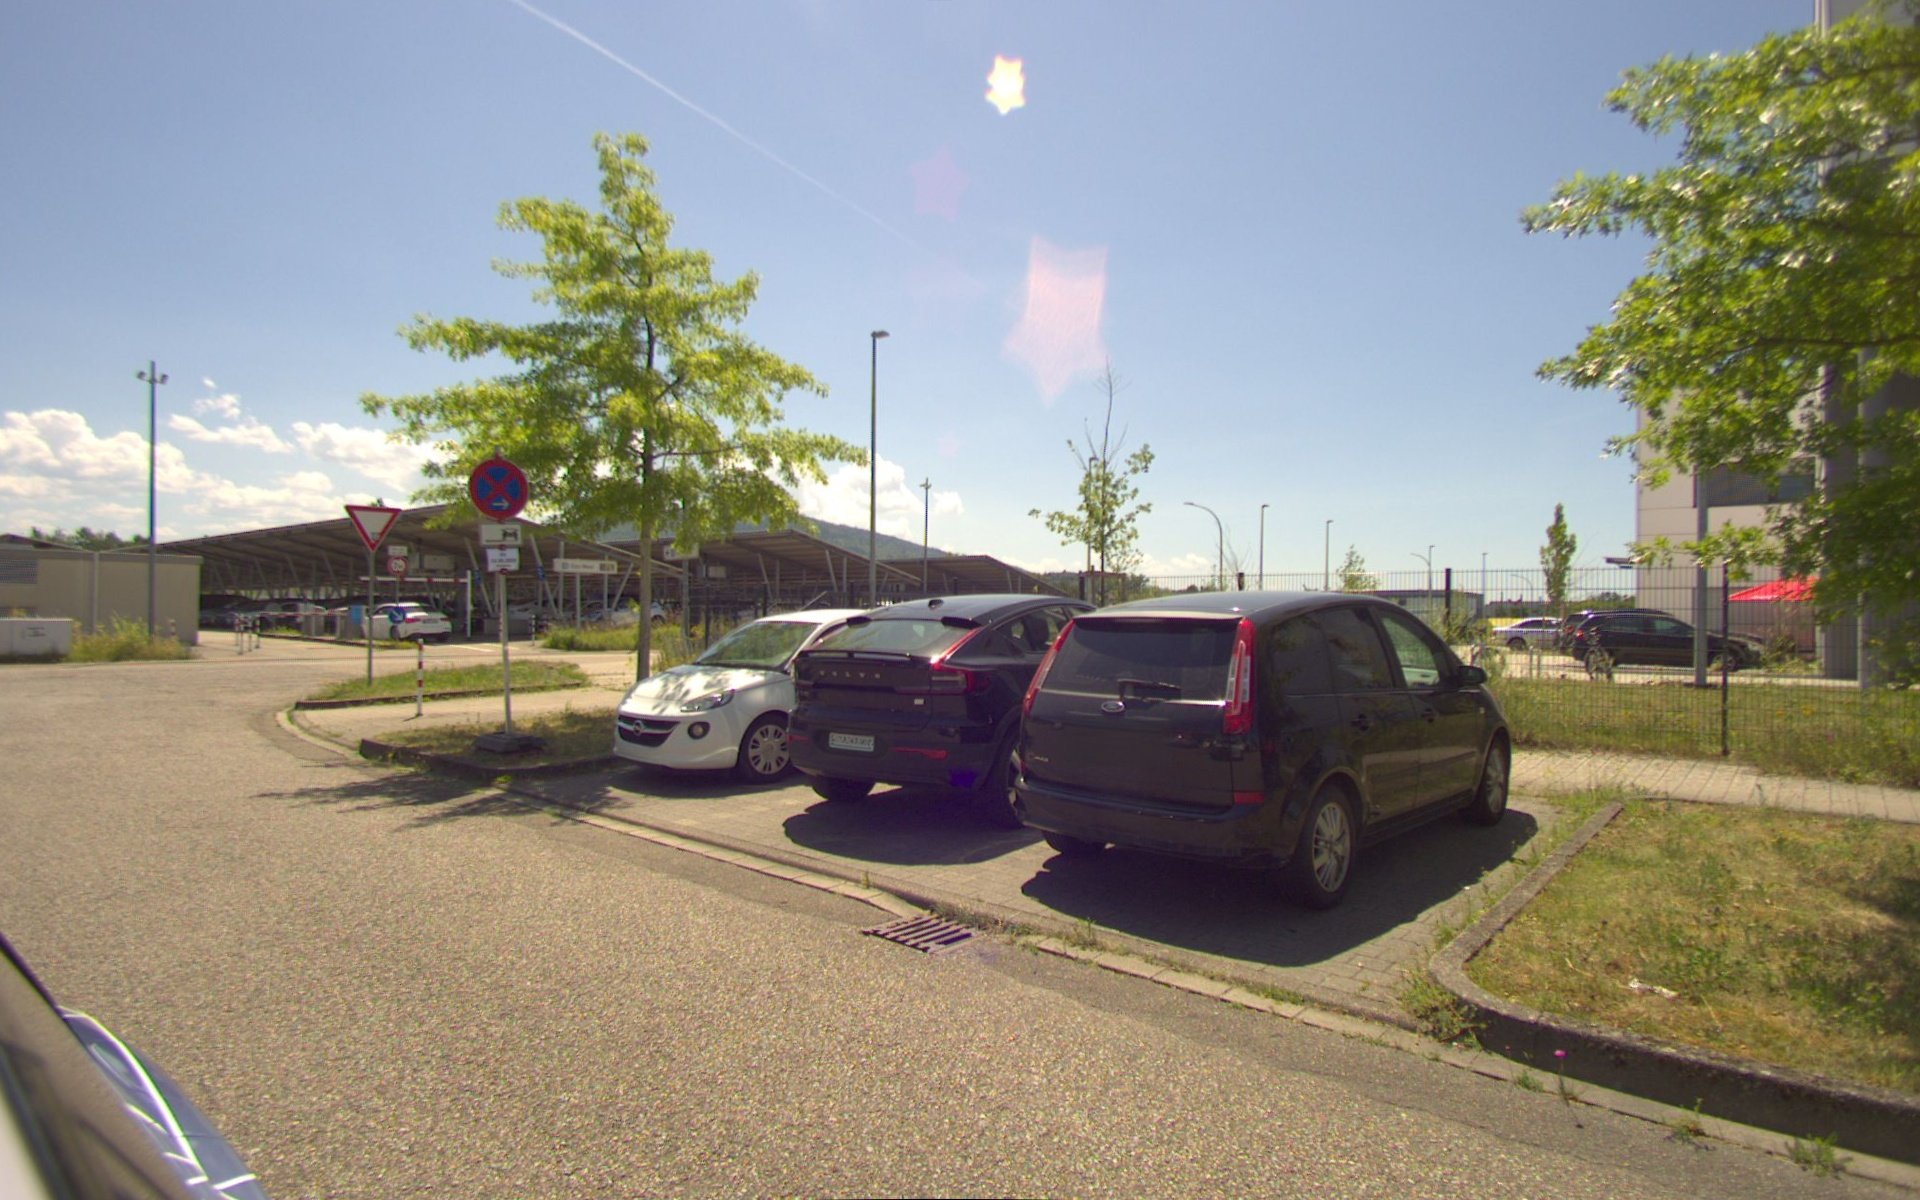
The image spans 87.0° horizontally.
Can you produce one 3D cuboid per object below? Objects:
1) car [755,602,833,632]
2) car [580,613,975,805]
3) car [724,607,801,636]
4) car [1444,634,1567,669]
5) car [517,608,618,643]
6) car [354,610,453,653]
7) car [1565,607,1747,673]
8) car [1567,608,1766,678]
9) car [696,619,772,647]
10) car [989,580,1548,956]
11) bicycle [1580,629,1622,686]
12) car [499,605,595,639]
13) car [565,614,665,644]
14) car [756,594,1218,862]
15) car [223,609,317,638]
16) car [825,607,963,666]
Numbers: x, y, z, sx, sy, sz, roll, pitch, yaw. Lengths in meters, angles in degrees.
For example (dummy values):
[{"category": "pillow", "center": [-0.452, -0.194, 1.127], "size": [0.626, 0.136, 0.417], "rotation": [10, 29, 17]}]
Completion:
[{"category": "car", "center": [-8.395, 0.887, 51.339], "size": [1.721, 1.447, 3.728], "rotation": [-1, -2, 37]}, {"category": "car", "center": [-1.620, 0.881, 9.805], "size": [1.726, 1.452, 3.468], "rotation": [-1, -1, 40]}, {"category": "car", "center": [-10.296, 1.130, 52.975], "size": [1.721, 1.447, 3.728], "rotation": [-1, -2, 37]}, {"category": "car", "center": [22.931, 2.140, 42.635], "size": [4.335, 1.349, 1.758], "rotation": [-1, -2, 40]}, {"category": "car", "center": [-16.953, 1.101, 43.836], "size": [1.721, 1.447, 3.728], "rotation": [-1, -2, 37]}, {"category": "car", "center": [-19.916, 1.116, 36.167], "size": [3.770, 1.447, 1.702], "rotation": [-1, -2, 37]}, {"category": "car", "center": [19.149, 1.075, 27.924], "size": [3.997, 1.697, 1.758], "rotation": [-1, -2, 40]}, {"category": "car", "center": [17.774, 1.050, 25.553], "size": [3.997, 1.614, 1.758], "rotation": [-1, -2, 40]}, {"category": "car", "center": [-12.087, 1.761, 54.321], "size": [1.721, 1.447, 3.728], "rotation": [-1, -2, 37]}, {"category": "car", "center": [2.133, 0.721, 6.313], "size": [1.728, 1.604, 3.862], "rotation": [-1, -1, 45]}, {"category": "bicycle", "center": [11.687, 1.030, 18.428], "size": [0.461, 0.989, 1.576], "rotation": [-1, -2, 39]}, {"category": "car", "center": [-18.826, 1.024, 46.248], "size": [1.721, 1.447, 3.728], "rotation": [-1, -2, 37]}, {"category": "car", "center": [-14.655, 1.242, 43.146], "size": [1.721, 1.237, 3.728], "rotation": [-1, -2, 37]}, {"category": "car", "center": [0.432, 0.776, 8.137], "size": [1.827, 1.605, 3.802], "rotation": [-1, -1, 38]}, {"category": "car", "center": [-36.460, 1.264, 53.542], "size": [1.721, 1.447, 3.728], "rotation": [-1, -2, 37]}, {"category": "car", "center": [-1.719, 0.985, 27.401], "size": [1.722, 1.475, 3.632], "rotation": [-1, -2, 39]}]
